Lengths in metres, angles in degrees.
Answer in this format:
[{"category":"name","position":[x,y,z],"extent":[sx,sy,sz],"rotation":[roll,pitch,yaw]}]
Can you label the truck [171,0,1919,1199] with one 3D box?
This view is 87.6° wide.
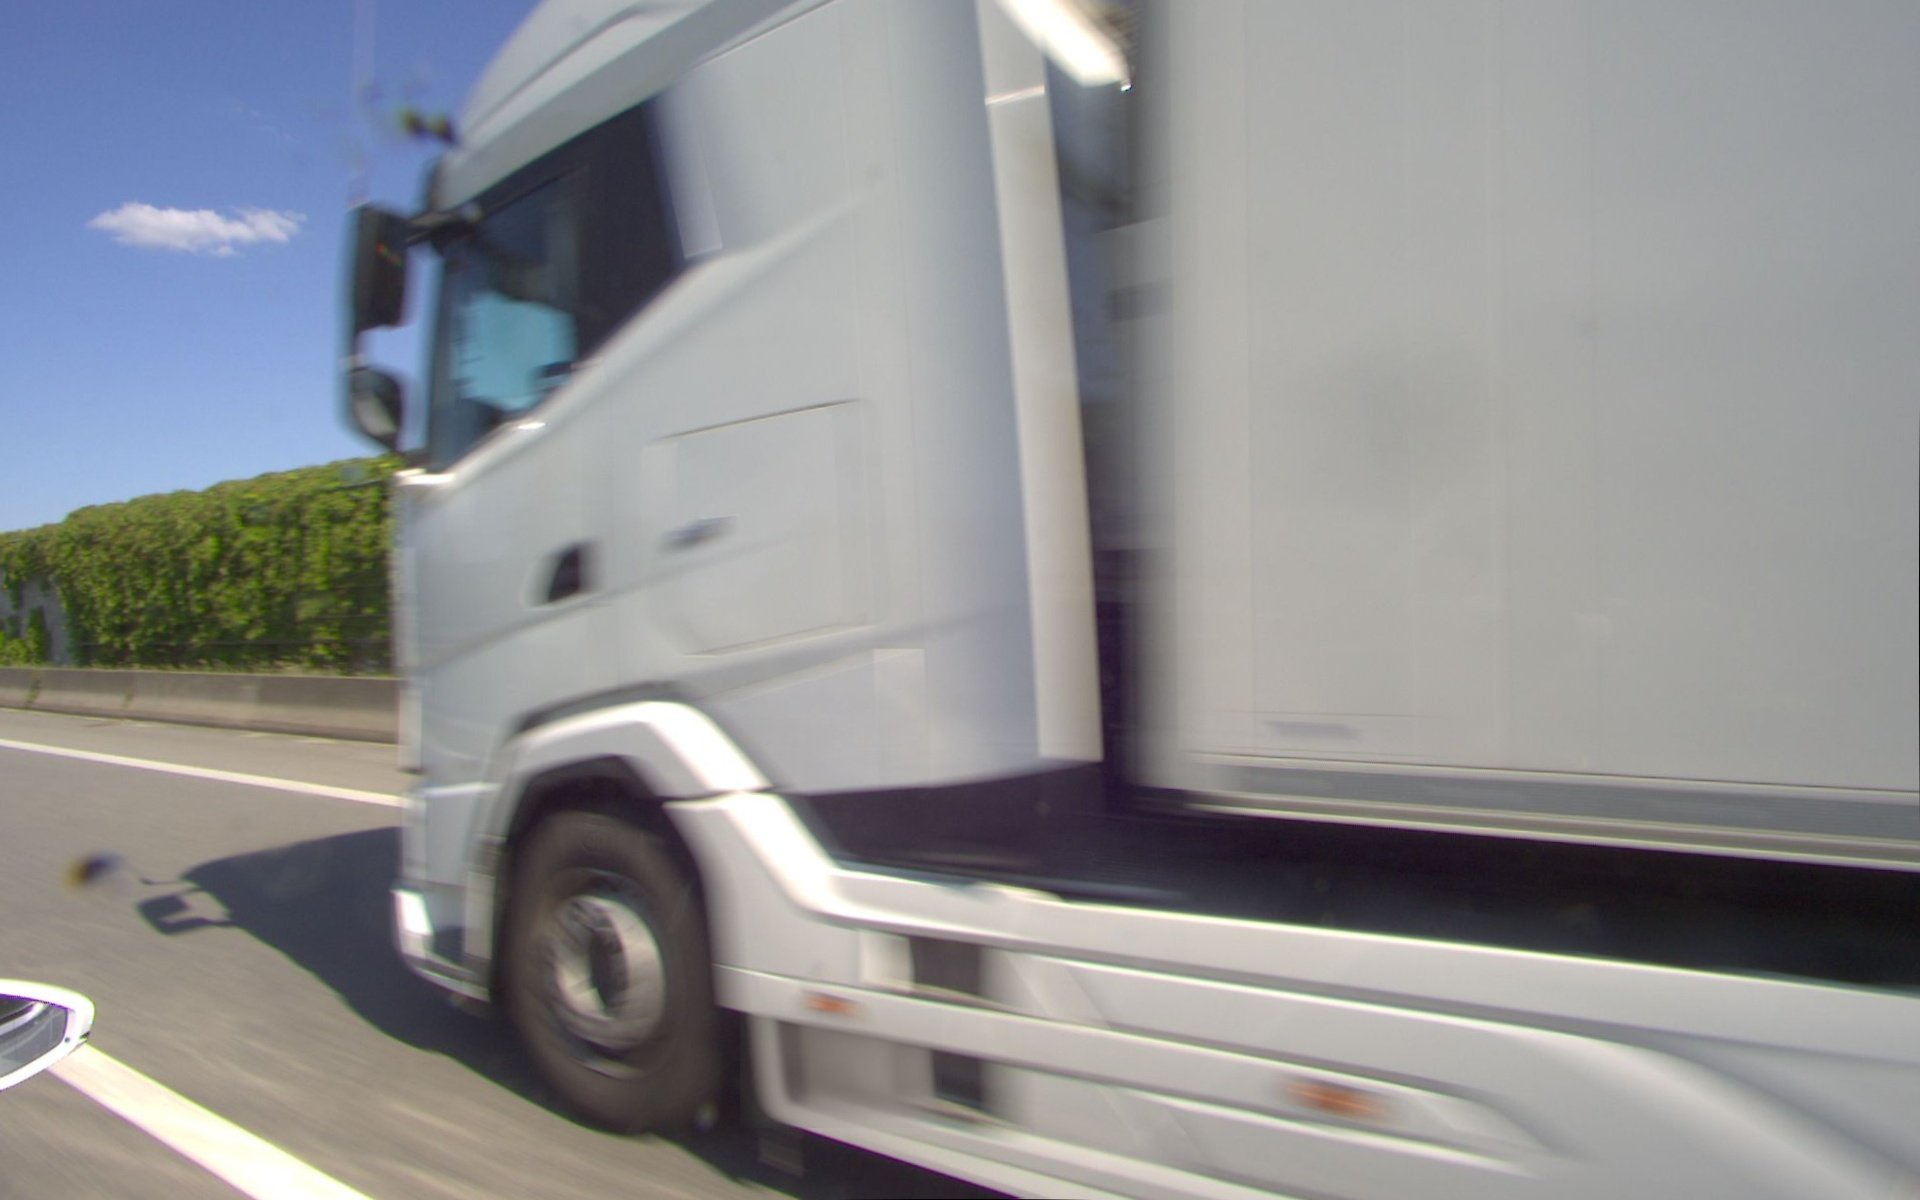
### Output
[{"category":"truck","position":[0.675,-0.488,3.310],"extent":[6.941,4.019,2.835],"rotation":[-1,0,31]}]
